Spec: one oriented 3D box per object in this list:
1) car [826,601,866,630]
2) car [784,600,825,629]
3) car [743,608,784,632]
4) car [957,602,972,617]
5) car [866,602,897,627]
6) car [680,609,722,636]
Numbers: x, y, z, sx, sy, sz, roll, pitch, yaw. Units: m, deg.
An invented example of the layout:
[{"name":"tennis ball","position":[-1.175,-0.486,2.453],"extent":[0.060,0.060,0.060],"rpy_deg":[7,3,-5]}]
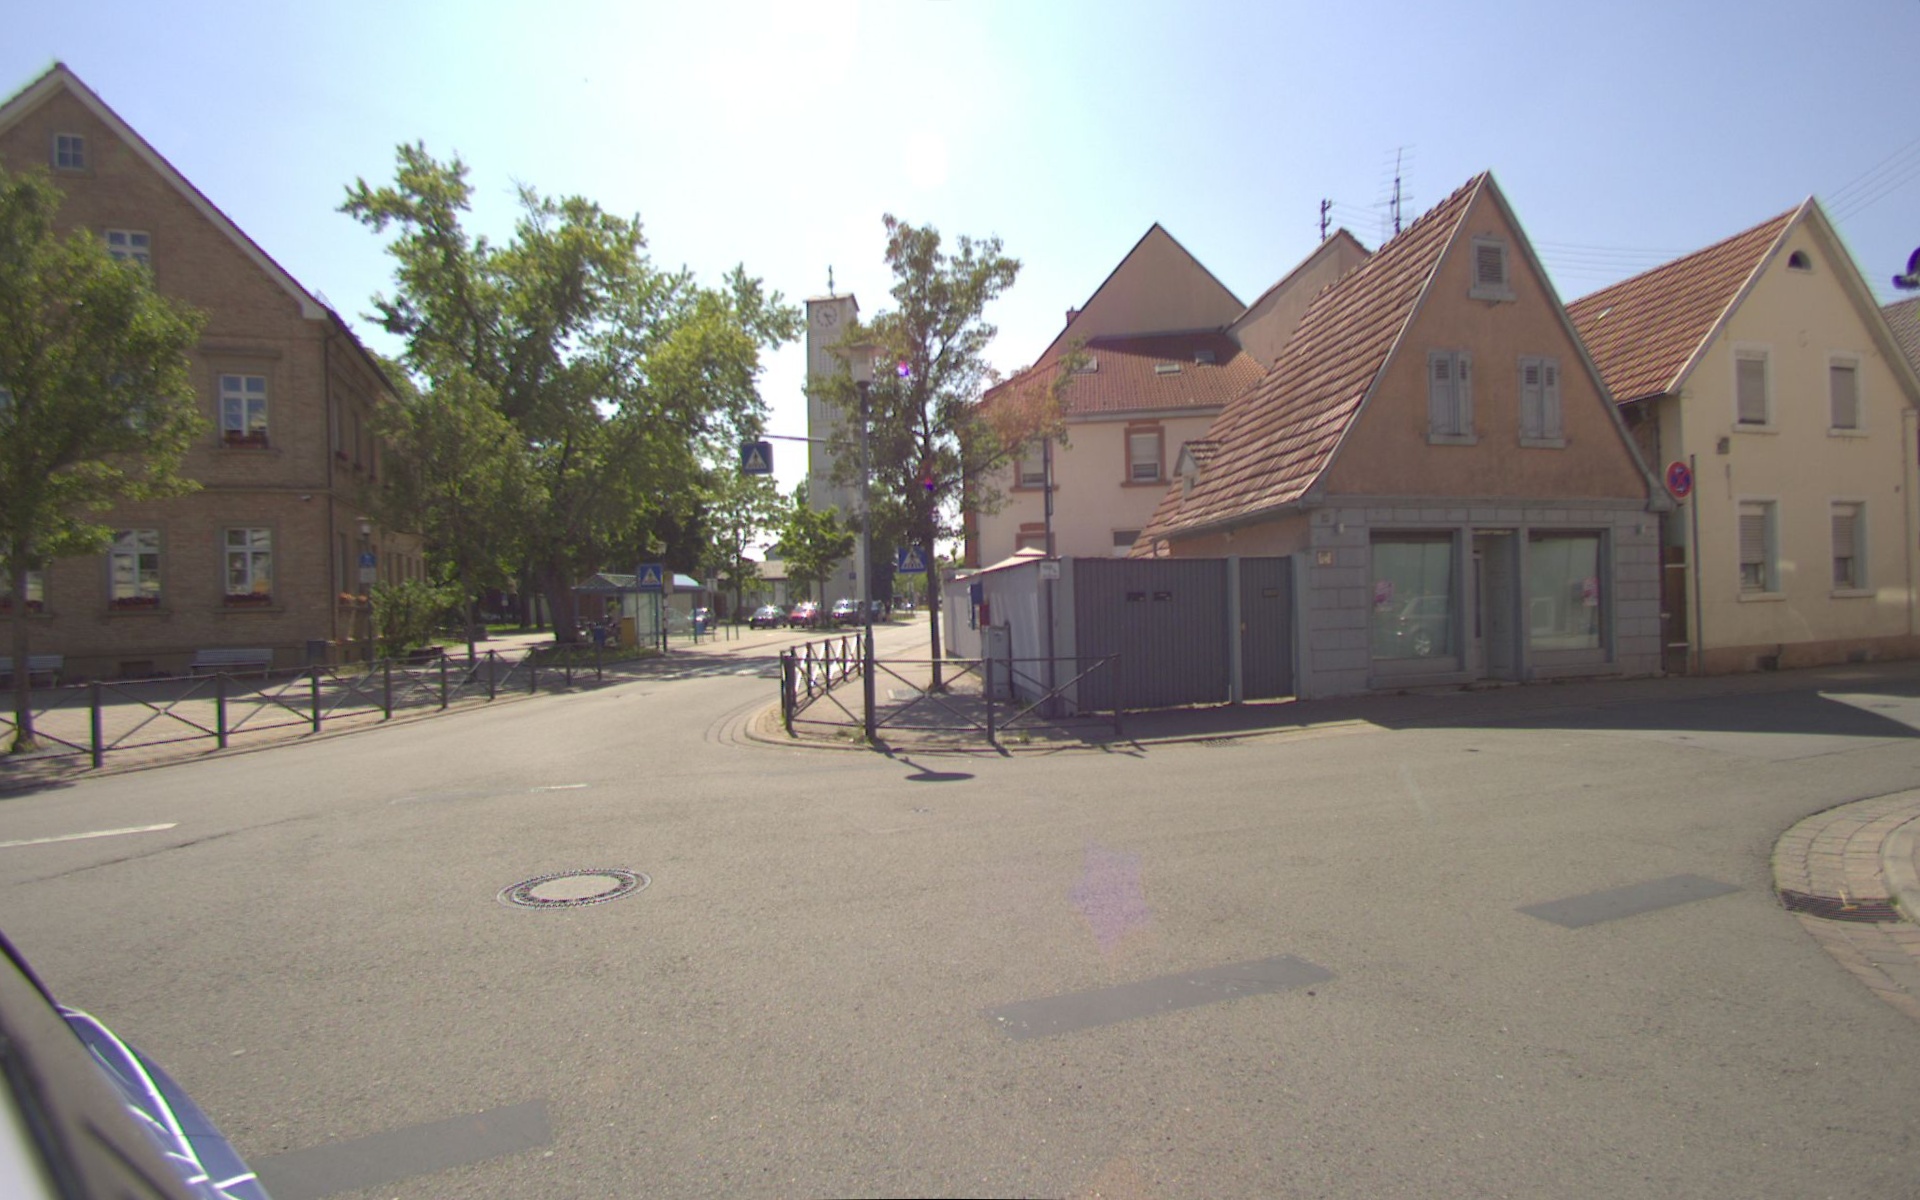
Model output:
[{"name":"car","position":[-7.475,1.010,66.794],"extent":[1.760,1.807,3.993],"rpy_deg":[-1,0,6]},{"name":"car","position":[-10.295,0.935,67.266],"extent":[1.759,1.807,3.994],"rpy_deg":[-2,-1,5]},{"name":"car","position":[-12.958,1.322,66.936],"extent":[1.630,1.479,3.773],"rpy_deg":[-2,-1,5]},{"name":"car","position":[0.595,1.203,127.713],"extent":[1.757,1.705,3.999],"rpy_deg":[-2,-1,0]},{"name":"car","position":[-5.505,1.053,71.363],"extent":[1.757,1.658,3.998],"rpy_deg":[-2,-1,1]},{"name":"car","position":[-17.162,1.466,67.201],"extent":[1.970,1.628,4.004],"rpy_deg":[-1,0,-4]}]
